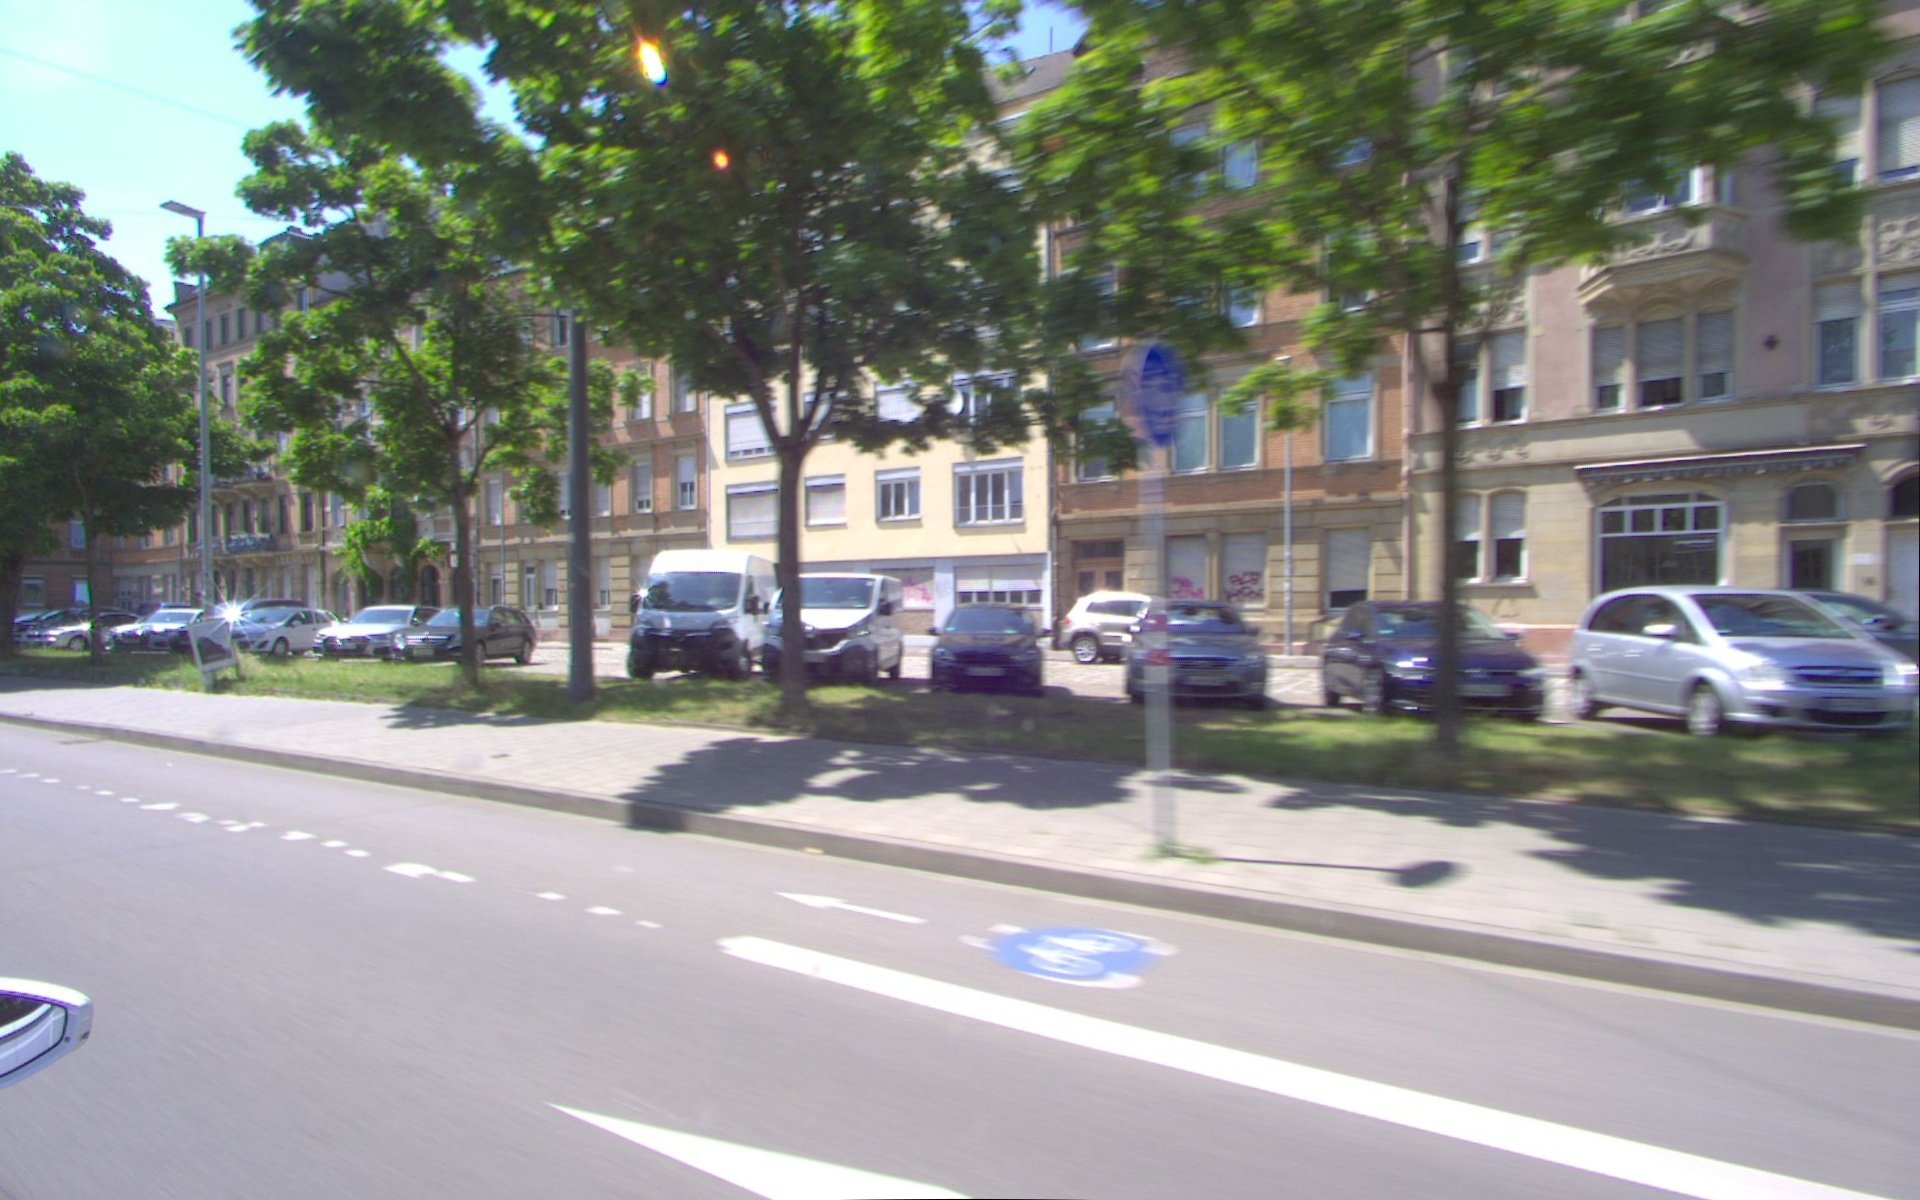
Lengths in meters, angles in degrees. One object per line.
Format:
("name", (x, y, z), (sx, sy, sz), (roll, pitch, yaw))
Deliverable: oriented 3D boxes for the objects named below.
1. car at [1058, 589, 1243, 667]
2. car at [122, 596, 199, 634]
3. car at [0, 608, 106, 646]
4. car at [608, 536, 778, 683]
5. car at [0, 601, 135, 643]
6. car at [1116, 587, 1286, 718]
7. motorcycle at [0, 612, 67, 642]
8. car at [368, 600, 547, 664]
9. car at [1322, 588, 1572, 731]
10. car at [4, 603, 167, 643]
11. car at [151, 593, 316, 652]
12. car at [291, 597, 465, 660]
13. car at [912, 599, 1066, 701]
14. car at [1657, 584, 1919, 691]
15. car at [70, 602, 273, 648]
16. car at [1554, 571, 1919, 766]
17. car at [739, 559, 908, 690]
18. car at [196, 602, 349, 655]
("car", (4.505, 0.636, 23.794), (3.942, 1.706, 1.816), (0, -1, 32))
("car", (-42.565, 0.778, 53.286), (4.589, 1.928, 1.915), (0, -1, 33))
("car", (-35.520, 1.006, 38.361), (1.552, 1.394, 4.348), (0, -1, 7))
("car", (-5.043, 0.215, 19.840), (2.194, 2.492, 5.552), (0, -1, -4))
("car", (-33.333, 0.801, 37.221), (1.763, 1.489, 4.092), (0, -1, 5))
("car", (3.164, 0.652, 14.027), (1.927, 1.516, 4.632), (0, -1, 9))
("motorcycle", (-39.392, 1.144, 42.624), (2.063, 1.252, 0.805), (0, 0, -42))
("car", (-11.667, 0.729, 23.630), (1.934, 1.356, 4.433), (0, -1, 1))
("car", (5.630, 0.629, 12.132), (1.789, 1.417, 3.998), (0, -1, 12))
("car", (-30.828, 0.802, 35.463), (1.935, 1.330, 3.998), (0, -1, 11))
("car", (-22.337, 0.687, 31.013), (1.934, 1.683, 4.000), (0, -1, 7))
("car", (-14.569, 0.701, 25.435), (1.934, 1.446, 4.693), (0, -1, -4))
("car", (0.602, 0.732, 15.949), (1.789, 1.405, 3.998), (0, -1, 12))
("car", (14.341, 0.586, 16.515), (4.544, 1.621, 1.985), (0, -1, 40))
("car", (-24.514, 0.761, 31.392), (2.109, 1.330, 4.786), (0, -1, 11))
("car", (8.311, 0.623, 10.713), (1.962, 1.653, 4.411), (0, -1, 11))
("car", (-2.241, 0.418, 17.857), (2.036, 1.998, 4.849), (0, -1, 4))
("car", (-19.812, 0.810, 29.076), (1.679, 1.418, 4.001), (0, -1, 1))
